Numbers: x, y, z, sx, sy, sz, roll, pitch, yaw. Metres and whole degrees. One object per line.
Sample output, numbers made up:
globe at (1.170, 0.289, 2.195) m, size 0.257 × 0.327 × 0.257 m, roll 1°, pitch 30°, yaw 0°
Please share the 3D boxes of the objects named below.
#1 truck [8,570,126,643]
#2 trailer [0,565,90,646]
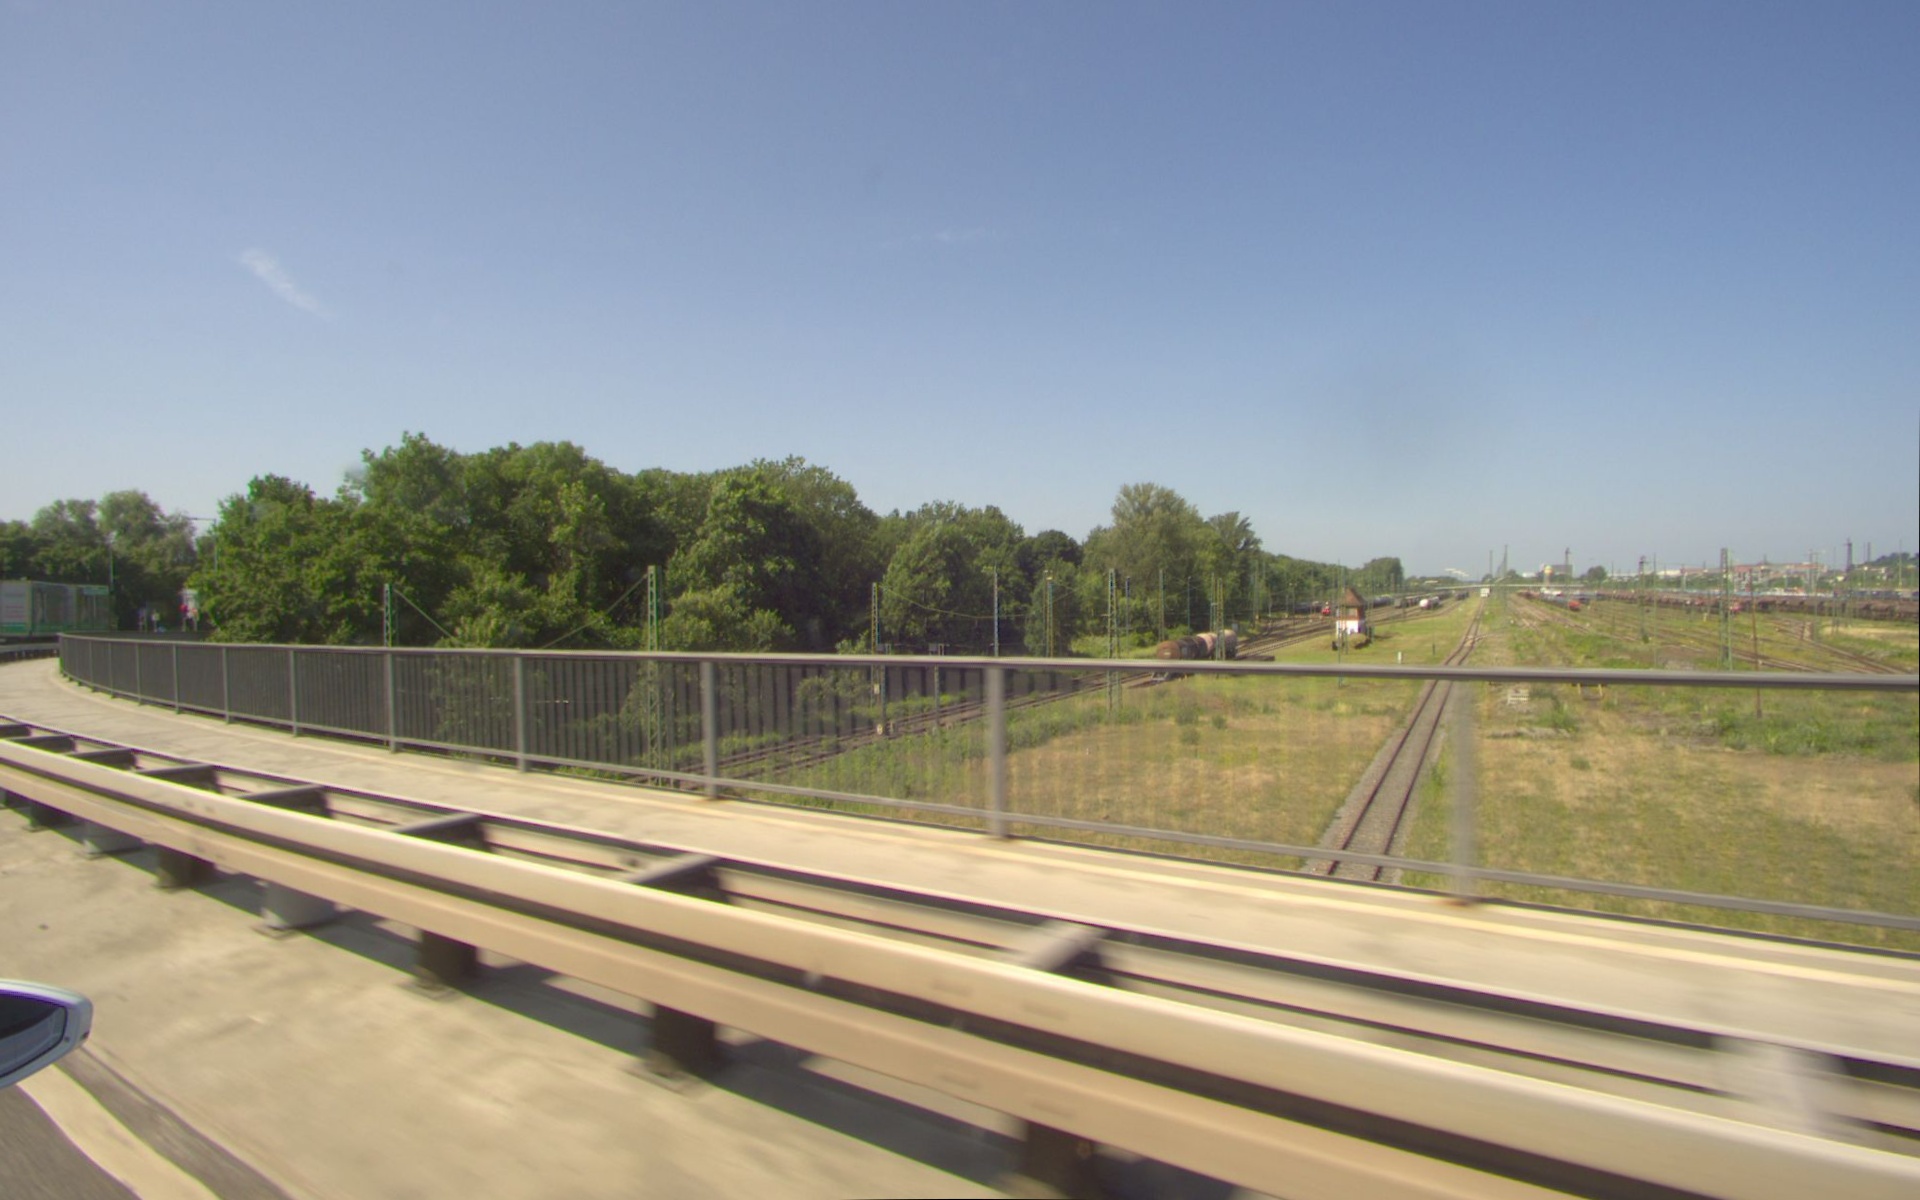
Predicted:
truck at (-51.223, 0.463, 57.752) m, size 3.225 × 3.805 × 8.328 m, roll 3°, pitch -2°, yaw -30°
trailer at (-47.308, 0.317, 50.779) m, size 3.190 × 3.805 × 7.785 m, roll 3°, pitch -2°, yaw -30°
